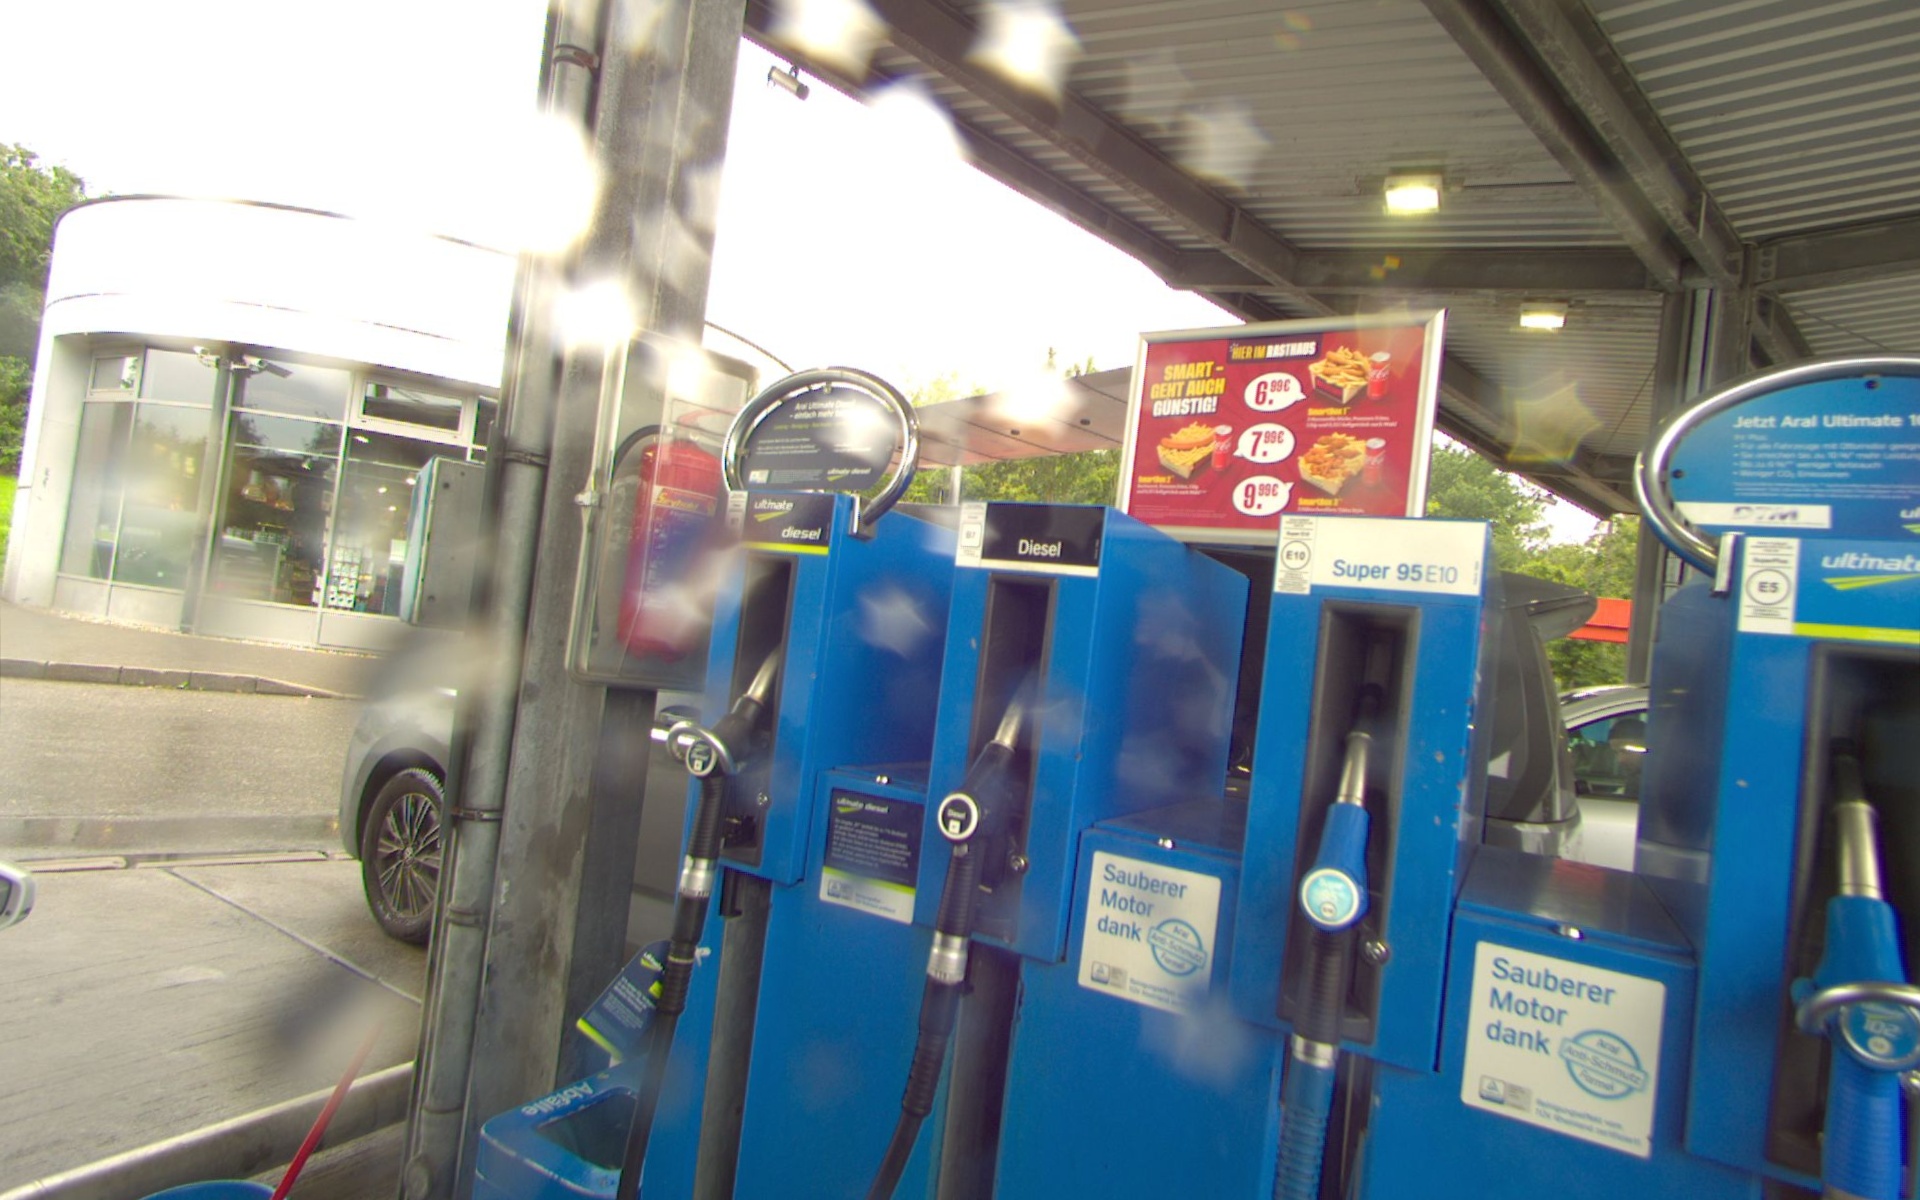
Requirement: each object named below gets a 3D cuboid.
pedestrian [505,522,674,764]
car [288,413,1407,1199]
[{"bbox_3d":[-3.206,0.363,8.716,0.991,1.917,0.716,7,0,34],"label":"pedestrian"},{"bbox_3d":[-0.587,0.474,3.988,3.934,1.971,1.819,7,-1,32],"label":"car"}]
